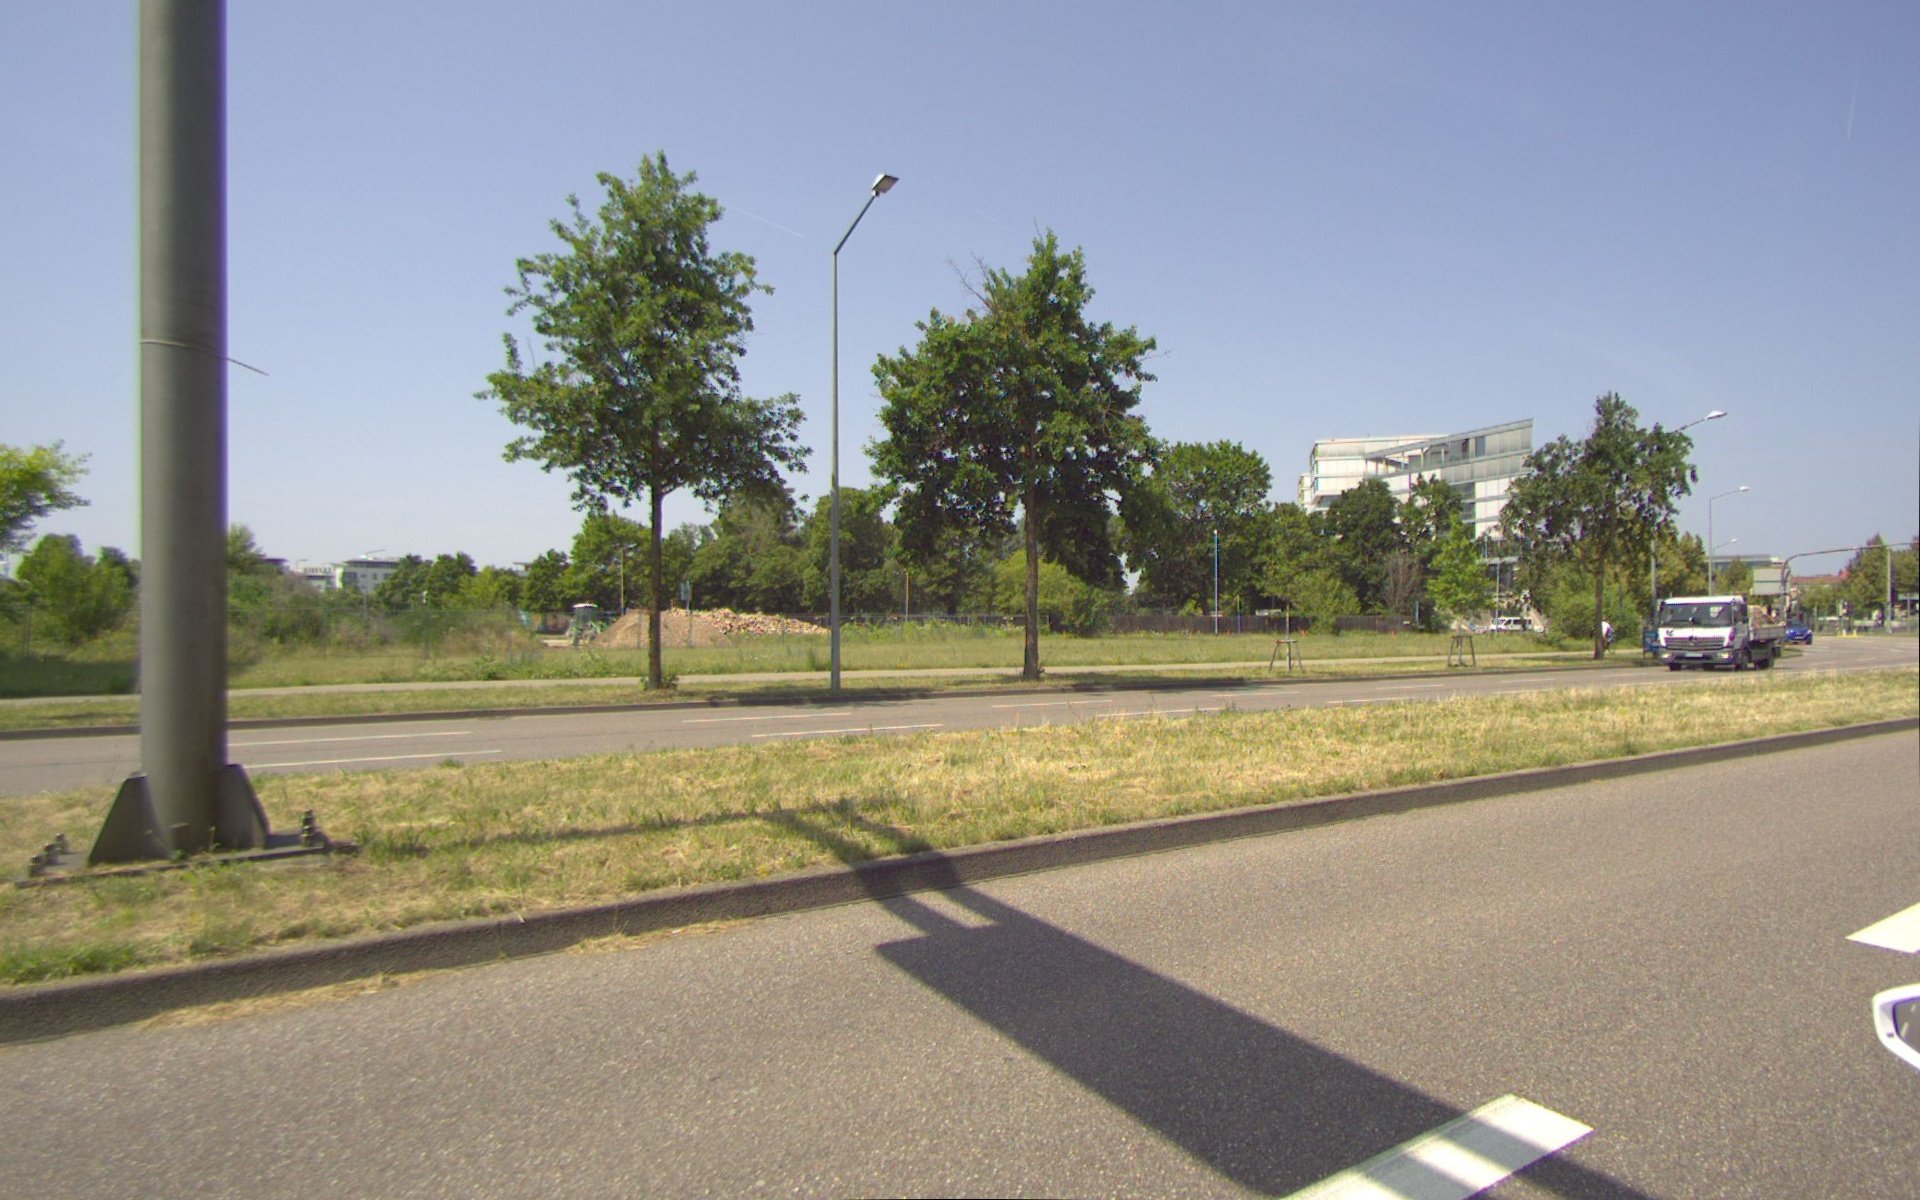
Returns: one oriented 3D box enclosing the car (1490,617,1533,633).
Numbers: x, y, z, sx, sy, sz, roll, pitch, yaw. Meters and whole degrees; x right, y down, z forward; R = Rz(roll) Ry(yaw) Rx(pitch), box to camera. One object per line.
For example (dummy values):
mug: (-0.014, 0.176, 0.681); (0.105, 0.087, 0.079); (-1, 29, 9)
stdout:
car: (68.027, 3.115, 123.849); (4.206, 1.903, 2.000); (0, -1, -2)

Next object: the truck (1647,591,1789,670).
truck: (27.550, 1.075, 36.428); (6.261, 2.611, 2.619); (1, -1, -38)

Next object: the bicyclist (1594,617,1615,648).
bicyclist: (32.019, 1.606, 49.883); (0.748, 1.509, 0.620); (1, -1, -30)

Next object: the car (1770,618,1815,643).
car: (56.010, 2.011, 67.624); (1.967, 1.617, 3.987); (-1, -1, 35)

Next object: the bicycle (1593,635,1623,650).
bicycle: (32.227, 2.114, 49.981); (1.828, 0.725, 0.479); (1, -1, -30)
